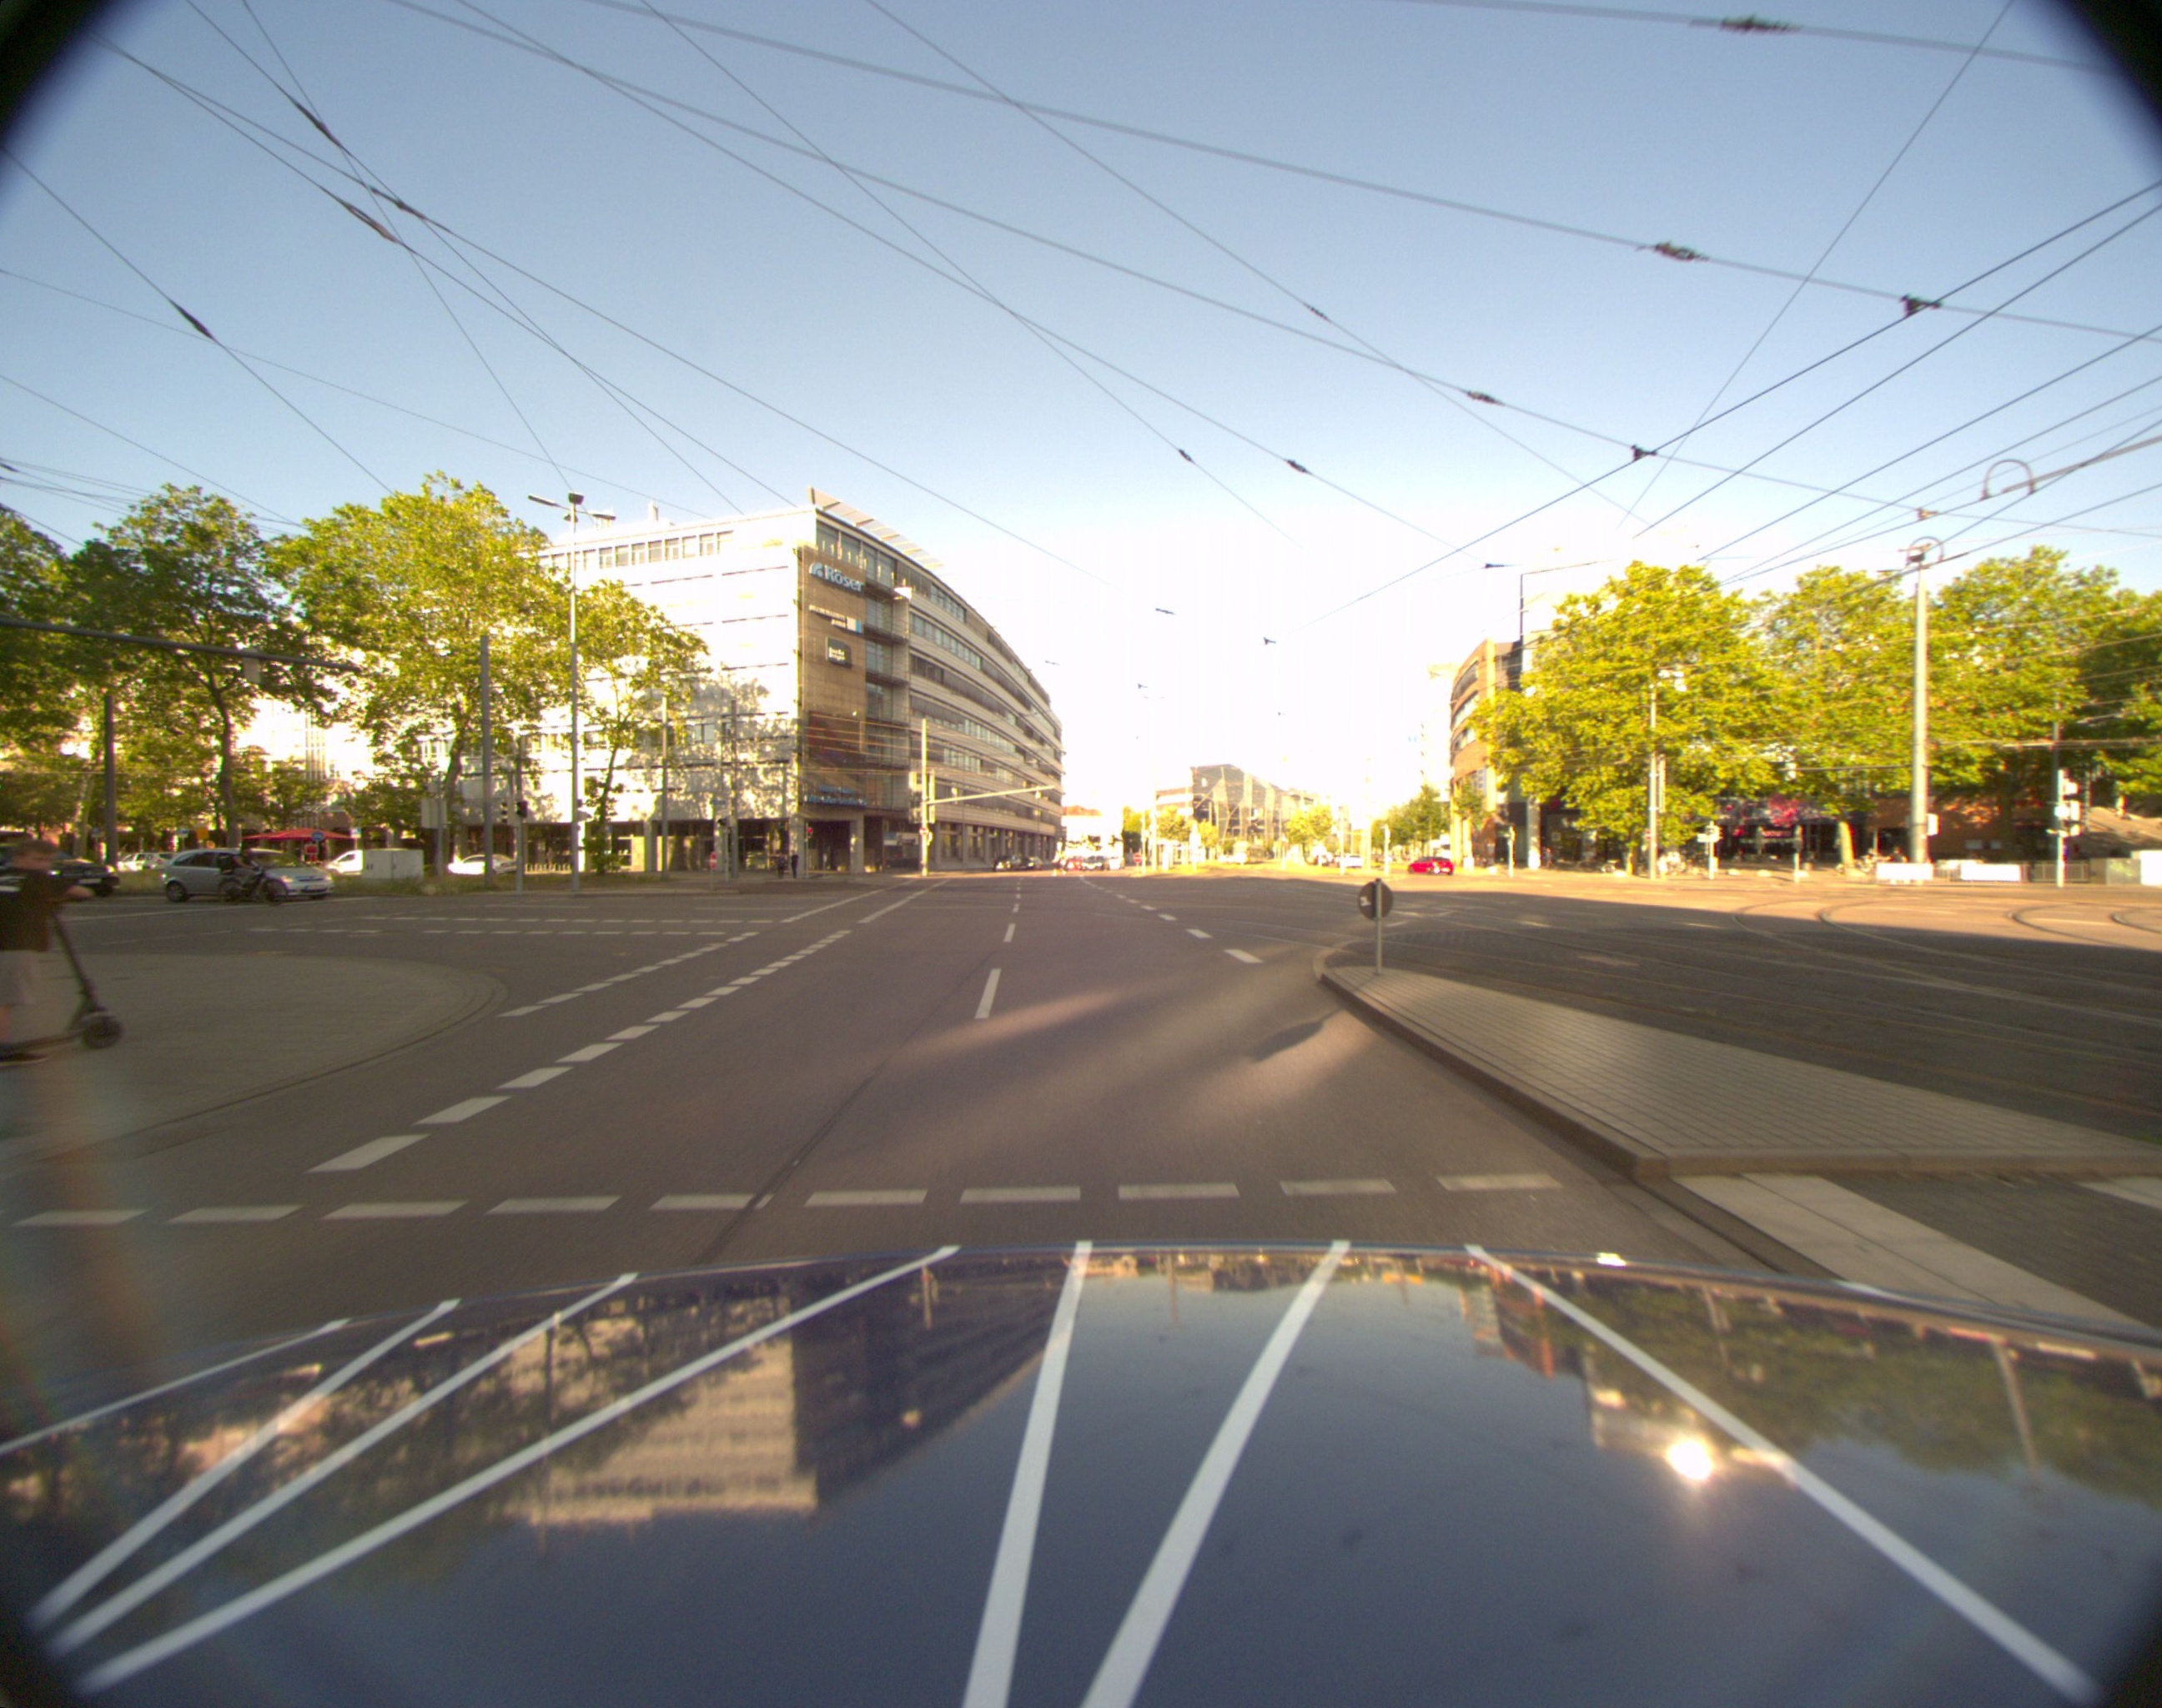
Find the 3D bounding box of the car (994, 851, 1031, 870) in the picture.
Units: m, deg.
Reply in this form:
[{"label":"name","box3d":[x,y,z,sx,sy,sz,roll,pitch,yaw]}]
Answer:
[{"label":"car","box3d":[-6.001,0.546,67.038,1.901,1.611,4.177,0,-1,16]}]

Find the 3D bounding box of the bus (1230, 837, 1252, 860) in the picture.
[{"label":"bus","box3d":[25.309,-0.803,120.800,2.723,3.388,9.675,0,-1,8]}]

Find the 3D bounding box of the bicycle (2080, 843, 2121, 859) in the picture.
[{"label":"bicycle","box3d":[71.704,-0.209,53.437,2.014,1.061,0.695,0,1,-3]}]

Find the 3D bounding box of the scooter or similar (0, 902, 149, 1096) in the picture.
[{"label":"scooter or similar","box3d":[-7.984,1.059,5.742,0.529,1.310,1.131,0,1,-7]}]

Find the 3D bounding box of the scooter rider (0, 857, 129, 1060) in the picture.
[{"label":"scooter rider","box3d":[-8.000,0.757,5.811,0.507,1.452,0.721,0,1,-6]}]

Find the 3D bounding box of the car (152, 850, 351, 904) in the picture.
[{"label":"car","box3d":[-25.136,0.662,23.109,4.320,1.588,1.736,0,1,4]}]

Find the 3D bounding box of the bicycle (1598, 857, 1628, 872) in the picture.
[{"label":"bicycle","box3d":[38.217,0.752,54.569,1.696,1.030,0.549,0,1,11]}]

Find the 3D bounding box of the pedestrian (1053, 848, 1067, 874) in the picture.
[{"label":"pedestrian","box3d":[-1.488,0.488,54.169,0.966,1.832,0.699,0,1,3]}]

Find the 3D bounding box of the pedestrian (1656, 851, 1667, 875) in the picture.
[{"label":"pedestrian","box3d":[36.329,0.551,47.539,0.574,1.529,0.483,-1,1,-44]}]

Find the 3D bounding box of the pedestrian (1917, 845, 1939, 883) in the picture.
[{"label":"pedestrian","box3d":[40.941,0.468,36.714,0.571,1.786,0.671,-1,1,-44]}]

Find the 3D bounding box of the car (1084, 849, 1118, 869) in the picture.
[{"label":"car","box3d":[1.760,0.457,65.454,1.901,1.611,4.530,0,-1,16]}]

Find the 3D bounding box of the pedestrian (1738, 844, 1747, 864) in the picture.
[{"label":"pedestrian","box3d":[54.812,-0.011,62.952,0.542,1.660,0.572,1,1,40]}]

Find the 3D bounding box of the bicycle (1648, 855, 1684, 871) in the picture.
[{"label":"bicycle","box3d":[39.983,0.620,51.942,1.841,1.123,0.776,0,1,7]}]

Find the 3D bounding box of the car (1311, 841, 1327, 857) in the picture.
[{"label":"car","box3d":[38.145,-0.707,121.623,1.995,2.465,5.984,0,-1,21]}]

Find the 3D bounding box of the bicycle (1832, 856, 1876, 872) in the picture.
[{"label":"bicycle","box3d":[52.395,0.673,51.511,1.943,1.057,0.784,0,1,11]}]

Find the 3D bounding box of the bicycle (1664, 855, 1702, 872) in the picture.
[{"label":"bicycle","box3d":[39.831,0.602,50.292,1.841,1.123,0.776,0,1,7]}]

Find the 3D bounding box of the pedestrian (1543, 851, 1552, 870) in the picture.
[{"label":"pedestrian","box3d":[41.630,0.600,67.816,0.594,1.647,0.594,1,1,29]}]

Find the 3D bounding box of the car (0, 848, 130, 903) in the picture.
[{"label":"car","box3d":[-32.635,0.628,23.492,4.320,1.641,1.860,0,1,4]}]

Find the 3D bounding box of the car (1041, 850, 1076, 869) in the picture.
[{"label":"car","box3d":[-1.860,0.467,65.206,1.901,1.611,3.871,0,-1,16]}]

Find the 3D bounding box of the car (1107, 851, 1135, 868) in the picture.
[{"label":"car","box3d":[3.965,0.563,75.126,1.901,1.611,4.177,0,-1,16]}]

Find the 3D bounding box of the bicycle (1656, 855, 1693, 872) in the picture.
[{"label":"bicycle","box3d":[39.914,0.611,51.106,1.841,1.123,0.776,0,1,7]}]

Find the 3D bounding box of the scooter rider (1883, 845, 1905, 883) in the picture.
[{"label":"scooter rider","box3d":[39.652,0.476,37.068,0.587,1.822,0.765,1,1,37]}]

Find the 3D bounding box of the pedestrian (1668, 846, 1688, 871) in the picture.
[{"label":"pedestrian","box3d":[41.401,0.325,52.716,0.891,1.754,0.732,0,0,22]}]

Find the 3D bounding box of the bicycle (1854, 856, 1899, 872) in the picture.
[{"label":"bicycle","box3d":[52.502,0.657,50.165,1.943,1.057,0.784,0,1,11]}]

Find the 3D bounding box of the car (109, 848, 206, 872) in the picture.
[{"label":"car","box3d":[-59.766,0.362,49.209,4.320,1.543,1.860,0,1,5]}]

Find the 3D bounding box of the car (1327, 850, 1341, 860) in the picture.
[{"label":"car","box3d":[40.555,0.123,121.756,1.861,1.622,4.270,0,0,24]}]

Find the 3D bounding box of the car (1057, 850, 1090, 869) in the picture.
[{"label":"car","box3d":[-0.645,0.500,69.349,1.901,1.611,4.177,0,-1,16]}]

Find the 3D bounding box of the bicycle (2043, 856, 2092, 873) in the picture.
[{"label":"bicycle","box3d":[61.306,0.638,47.224,1.943,1.057,0.579,0,1,11]}]

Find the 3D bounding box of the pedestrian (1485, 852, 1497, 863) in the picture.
[{"label":"pedestrian","box3d":[40.238,0.360,74.536,0.776,1.075,0.681,0,1,-1]}]

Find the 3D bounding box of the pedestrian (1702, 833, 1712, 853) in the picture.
[{"label":"pedestrian","box3d":[52.712,-0.946,63.985,0.569,1.660,0.544,0,1,25]}]

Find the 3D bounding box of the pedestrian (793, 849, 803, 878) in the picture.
[{"label":"pedestrian","box3d":[-17.711,0.567,47.548,0.547,1.813,0.374,0,1,-12]}]

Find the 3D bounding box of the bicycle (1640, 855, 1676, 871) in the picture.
[{"label":"bicycle","box3d":[40.067,0.630,52.801,1.841,1.123,0.776,0,1,7]}]

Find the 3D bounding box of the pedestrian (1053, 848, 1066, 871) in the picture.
[{"label":"pedestrian","box3d":[-1.567,0.396,54.857,0.845,1.678,0.648,0,1,5]}]

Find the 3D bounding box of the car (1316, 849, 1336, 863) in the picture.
[{"label":"car","box3d":[31.538,0.241,97.800,1.614,1.593,4.184,3,0,28]}]

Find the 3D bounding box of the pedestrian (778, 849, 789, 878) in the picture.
[{"label":"pedestrian","box3d":[-18.538,0.574,47.348,0.589,1.813,0.544,0,1,-12]}]

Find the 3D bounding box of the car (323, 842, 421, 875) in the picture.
[{"label":"car","box3d":[-44.636,0.281,47.884,4.381,2.002,2.000,0,1,2]}]

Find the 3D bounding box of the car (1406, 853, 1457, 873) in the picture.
[{"label":"car","box3d":[25.833,0.640,56.151,1.692,1.419,3.998,0,0,-6]}]

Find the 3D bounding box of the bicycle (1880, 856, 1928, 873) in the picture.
[{"label":"bicycle","box3d":[52.333,0.637,48.338,1.943,1.057,0.784,0,1,11]}]

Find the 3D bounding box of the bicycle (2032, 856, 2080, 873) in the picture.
[{"label":"bicycle","box3d":[61.564,0.646,47.977,1.943,1.057,0.579,0,1,11]}]

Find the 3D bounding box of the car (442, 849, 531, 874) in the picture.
[{"label":"car","box3d":[-37.466,0.468,47.946,4.320,1.543,1.860,0,1,5]}]

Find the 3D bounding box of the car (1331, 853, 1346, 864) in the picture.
[{"label":"car","box3d":[46.554,0.808,137.354,1.607,2.002,3.894,0,1,31]}]

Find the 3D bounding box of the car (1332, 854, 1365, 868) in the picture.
[{"label":"car","box3d":[26.902,0.691,76.491,1.635,1.443,3.999,0,0,-4]}]

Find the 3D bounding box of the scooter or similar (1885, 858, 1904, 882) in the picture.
[{"label":"scooter or similar","box3d":[39.638,0.765,37.025,0.454,1.172,1.162,1,1,40]}]
